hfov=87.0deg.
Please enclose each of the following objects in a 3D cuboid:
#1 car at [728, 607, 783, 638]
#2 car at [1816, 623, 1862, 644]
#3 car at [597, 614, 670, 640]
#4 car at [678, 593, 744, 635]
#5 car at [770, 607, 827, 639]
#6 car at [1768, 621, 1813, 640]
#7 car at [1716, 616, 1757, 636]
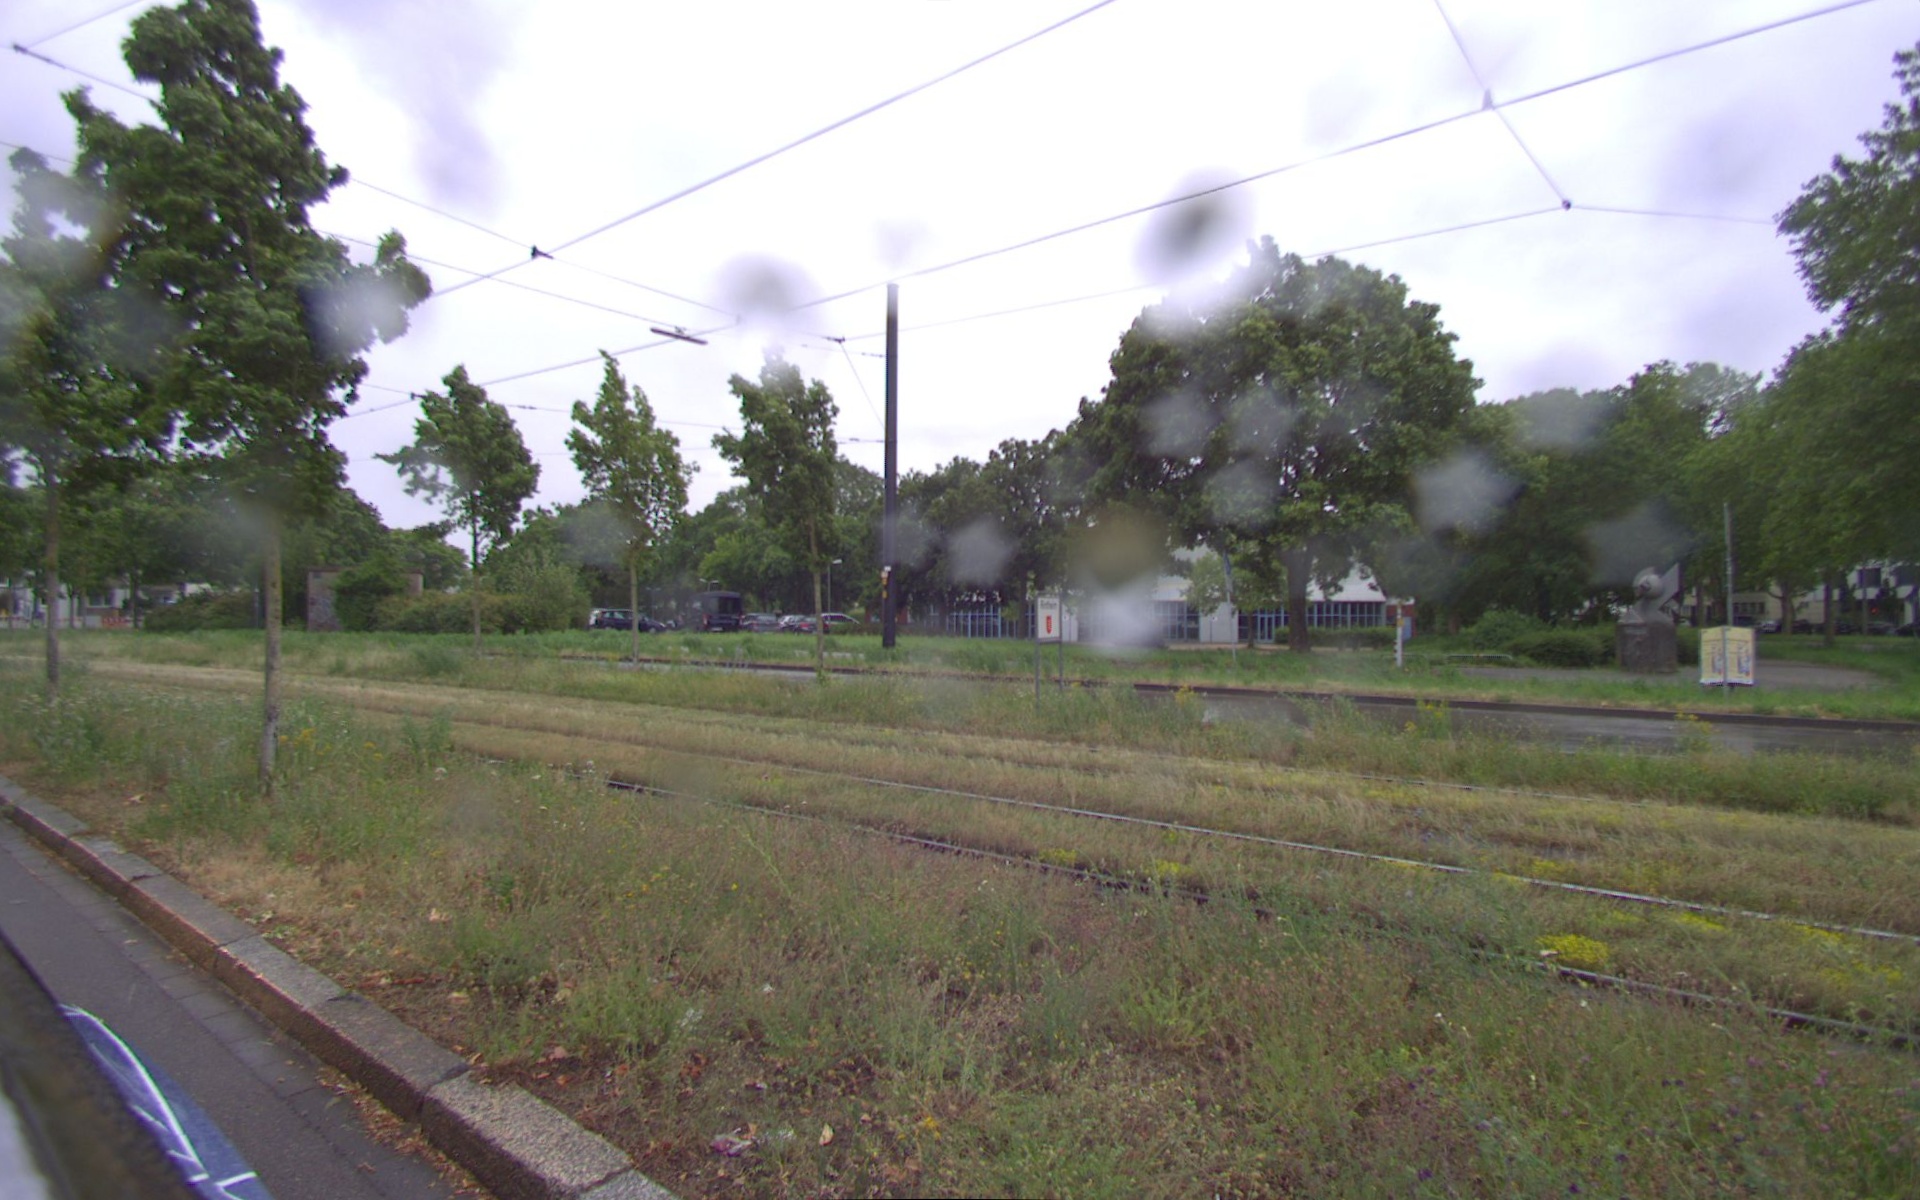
[{"bbox_3d":[-10.918,1.151,53.713,1.726,1.542,4.865,-1,0,-25],"label":"car"},{"bbox_3d":[81.650,3.110,94.069,1.986,1.796,3.972,-1,0,21],"label":"car"},{"bbox_3d":[-20.037,1.640,62.076,4.110,1.494,1.789,-1,0,-23],"label":"car"},{"bbox_3d":[-12.836,0.702,51.940,2.273,2.029,5.134,-1,0,-25],"label":"car"},{"bbox_3d":[-8.743,1.206,54.408,2.026,1.584,5.032,-1,0,-21],"label":"car"},{"bbox_3d":[82.970,3.032,101.166,1.982,1.796,3.979,-1,0,16],"label":"car"},{"bbox_3d":[86.339,2.840,112.550,2.108,2.104,3.982,-1,0,14],"label":"car"}]
